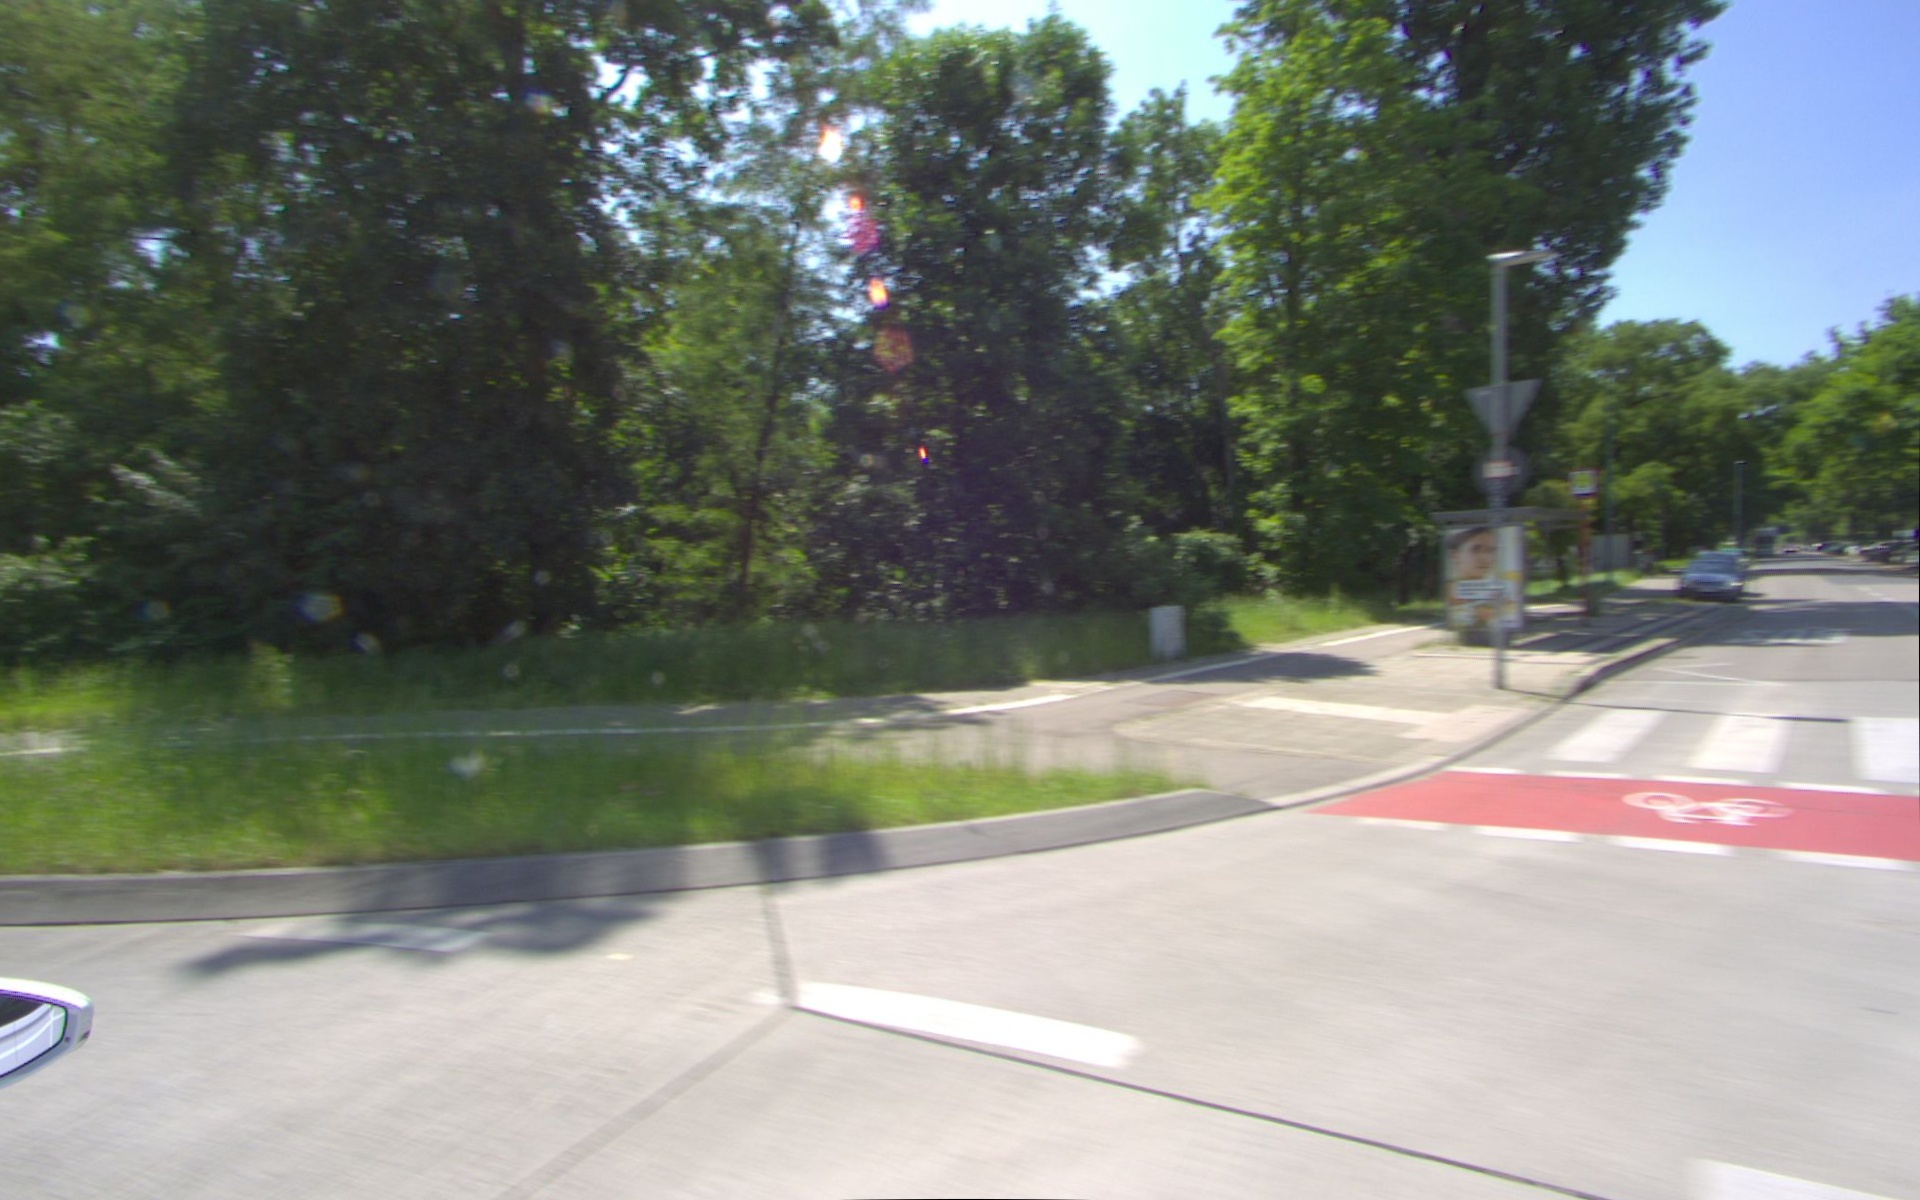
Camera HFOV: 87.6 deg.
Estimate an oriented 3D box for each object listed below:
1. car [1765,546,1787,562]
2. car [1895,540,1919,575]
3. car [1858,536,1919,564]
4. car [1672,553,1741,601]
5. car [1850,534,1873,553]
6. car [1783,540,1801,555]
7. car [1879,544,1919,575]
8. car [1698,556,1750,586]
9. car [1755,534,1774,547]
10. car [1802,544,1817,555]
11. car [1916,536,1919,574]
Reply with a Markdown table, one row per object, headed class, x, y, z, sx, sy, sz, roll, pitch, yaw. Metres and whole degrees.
| class | x | y | z | sx | sy | sz | roll | pitch | yaw |
| --- | --- | --- | --- | --- | --- | --- | --- | --- | --- |
| car | 92.729 | -5.204 | 113.772 | 1.896 | 1.706 | 3.967 | 0 | 1 | 40 |
| car | 57.745 | -2.565 | 58.825 | 3.951 | 2.041 | 1.984 | -1 | 1 | 39 |
| car | 70.154 | -3.736 | 75.334 | 3.749 | 1.907 | 1.635 | -1 | 1 | 39 |
| car | 25.286 | -0.802 | 33.878 | 1.681 | 1.507 | 3.969 | 3 | 4 | 39 |
| car | 94.494 | -5.911 | 104.975 | 1.627 | 1.907 | 3.766 | 0 | 1 | 39 |
| car | 116.992 | -7.369 | 140.808 | 1.976 | 2.041 | 3.968 | 0 | 1 | 40 |
| car | 60.540 | -2.578 | 62.909 | 3.949 | 1.897 | 1.672 | -1 | 1 | 37 |
| car | 40.885 | -1.546 | 53.563 | 1.977 | 1.489 | 3.967 | -1 | 1 | 41 |
| car | 113.946 | -8.416 | 141.848 | 1.897 | 1.706 | 3.965 | 0 | 1 | 42 |
| car | 144.629 | -8.594 | 170.412 | 1.820 | 1.840 | 3.709 | 0 | 2 | 43 |
| car | 53.966 | -2.456 | 52.583 | 5.250 | 2.012 | 1.746 | -1 | 1 | 39 |
